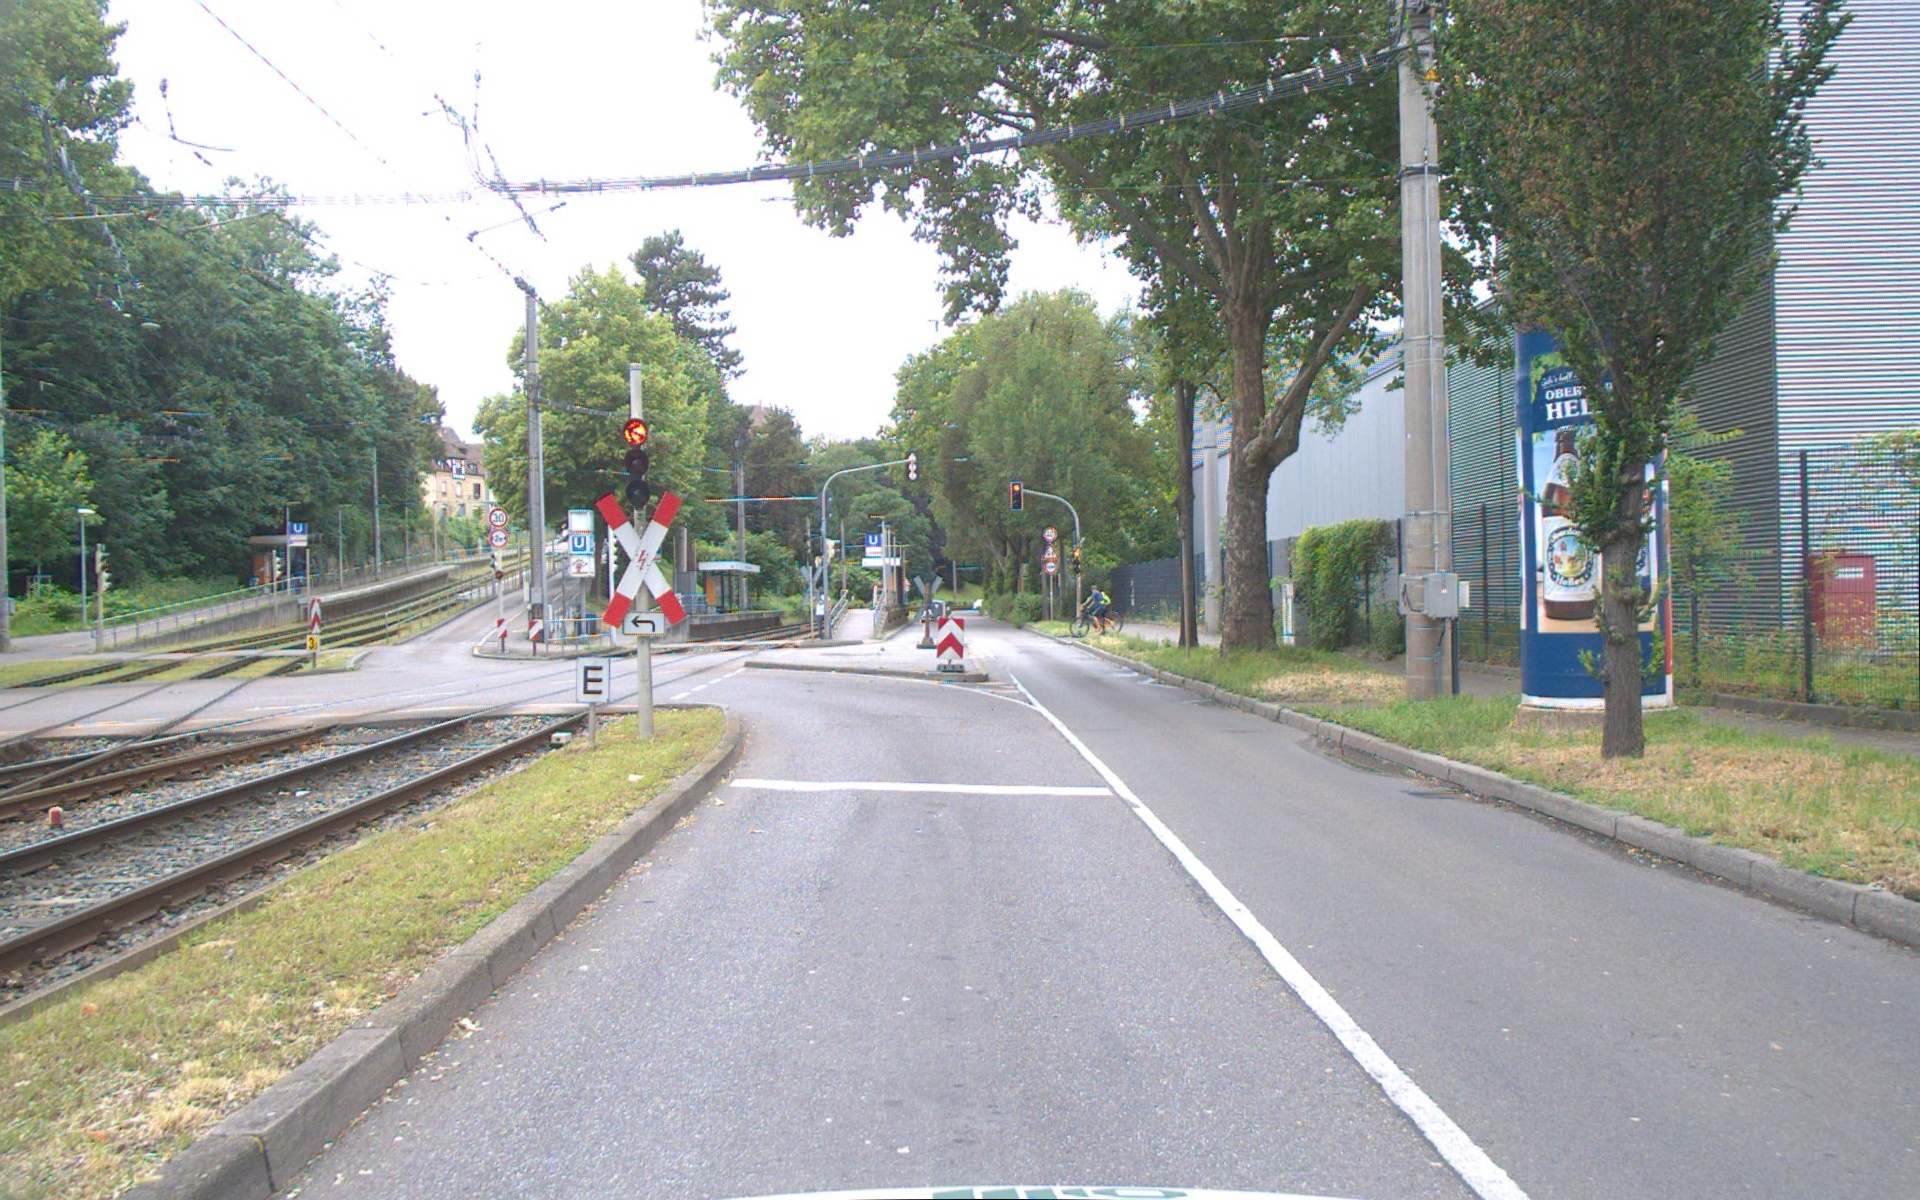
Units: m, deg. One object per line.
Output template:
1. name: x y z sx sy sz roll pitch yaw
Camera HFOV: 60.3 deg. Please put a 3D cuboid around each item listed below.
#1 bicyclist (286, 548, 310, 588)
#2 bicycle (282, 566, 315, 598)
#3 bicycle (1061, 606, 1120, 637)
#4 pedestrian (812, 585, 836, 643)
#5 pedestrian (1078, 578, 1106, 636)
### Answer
1. bicyclist: -31.781 -1.561 79.436 0.806 1.881 1.050 -1 2 -9
2. bicycle: -31.768 -0.888 79.472 0.809 1.366 2.991 -2 3 -9
3. bicycle: 4.653 0.768 58.929 2.031 1.024 0.668 -1 0 5
4. pedestrian: -4.524 0.461 55.010 0.753 1.885 0.909 -1 0 -5
5. pedestrian: 4.704 0.251 58.948 0.911 2.049 0.668 -1 0 5
